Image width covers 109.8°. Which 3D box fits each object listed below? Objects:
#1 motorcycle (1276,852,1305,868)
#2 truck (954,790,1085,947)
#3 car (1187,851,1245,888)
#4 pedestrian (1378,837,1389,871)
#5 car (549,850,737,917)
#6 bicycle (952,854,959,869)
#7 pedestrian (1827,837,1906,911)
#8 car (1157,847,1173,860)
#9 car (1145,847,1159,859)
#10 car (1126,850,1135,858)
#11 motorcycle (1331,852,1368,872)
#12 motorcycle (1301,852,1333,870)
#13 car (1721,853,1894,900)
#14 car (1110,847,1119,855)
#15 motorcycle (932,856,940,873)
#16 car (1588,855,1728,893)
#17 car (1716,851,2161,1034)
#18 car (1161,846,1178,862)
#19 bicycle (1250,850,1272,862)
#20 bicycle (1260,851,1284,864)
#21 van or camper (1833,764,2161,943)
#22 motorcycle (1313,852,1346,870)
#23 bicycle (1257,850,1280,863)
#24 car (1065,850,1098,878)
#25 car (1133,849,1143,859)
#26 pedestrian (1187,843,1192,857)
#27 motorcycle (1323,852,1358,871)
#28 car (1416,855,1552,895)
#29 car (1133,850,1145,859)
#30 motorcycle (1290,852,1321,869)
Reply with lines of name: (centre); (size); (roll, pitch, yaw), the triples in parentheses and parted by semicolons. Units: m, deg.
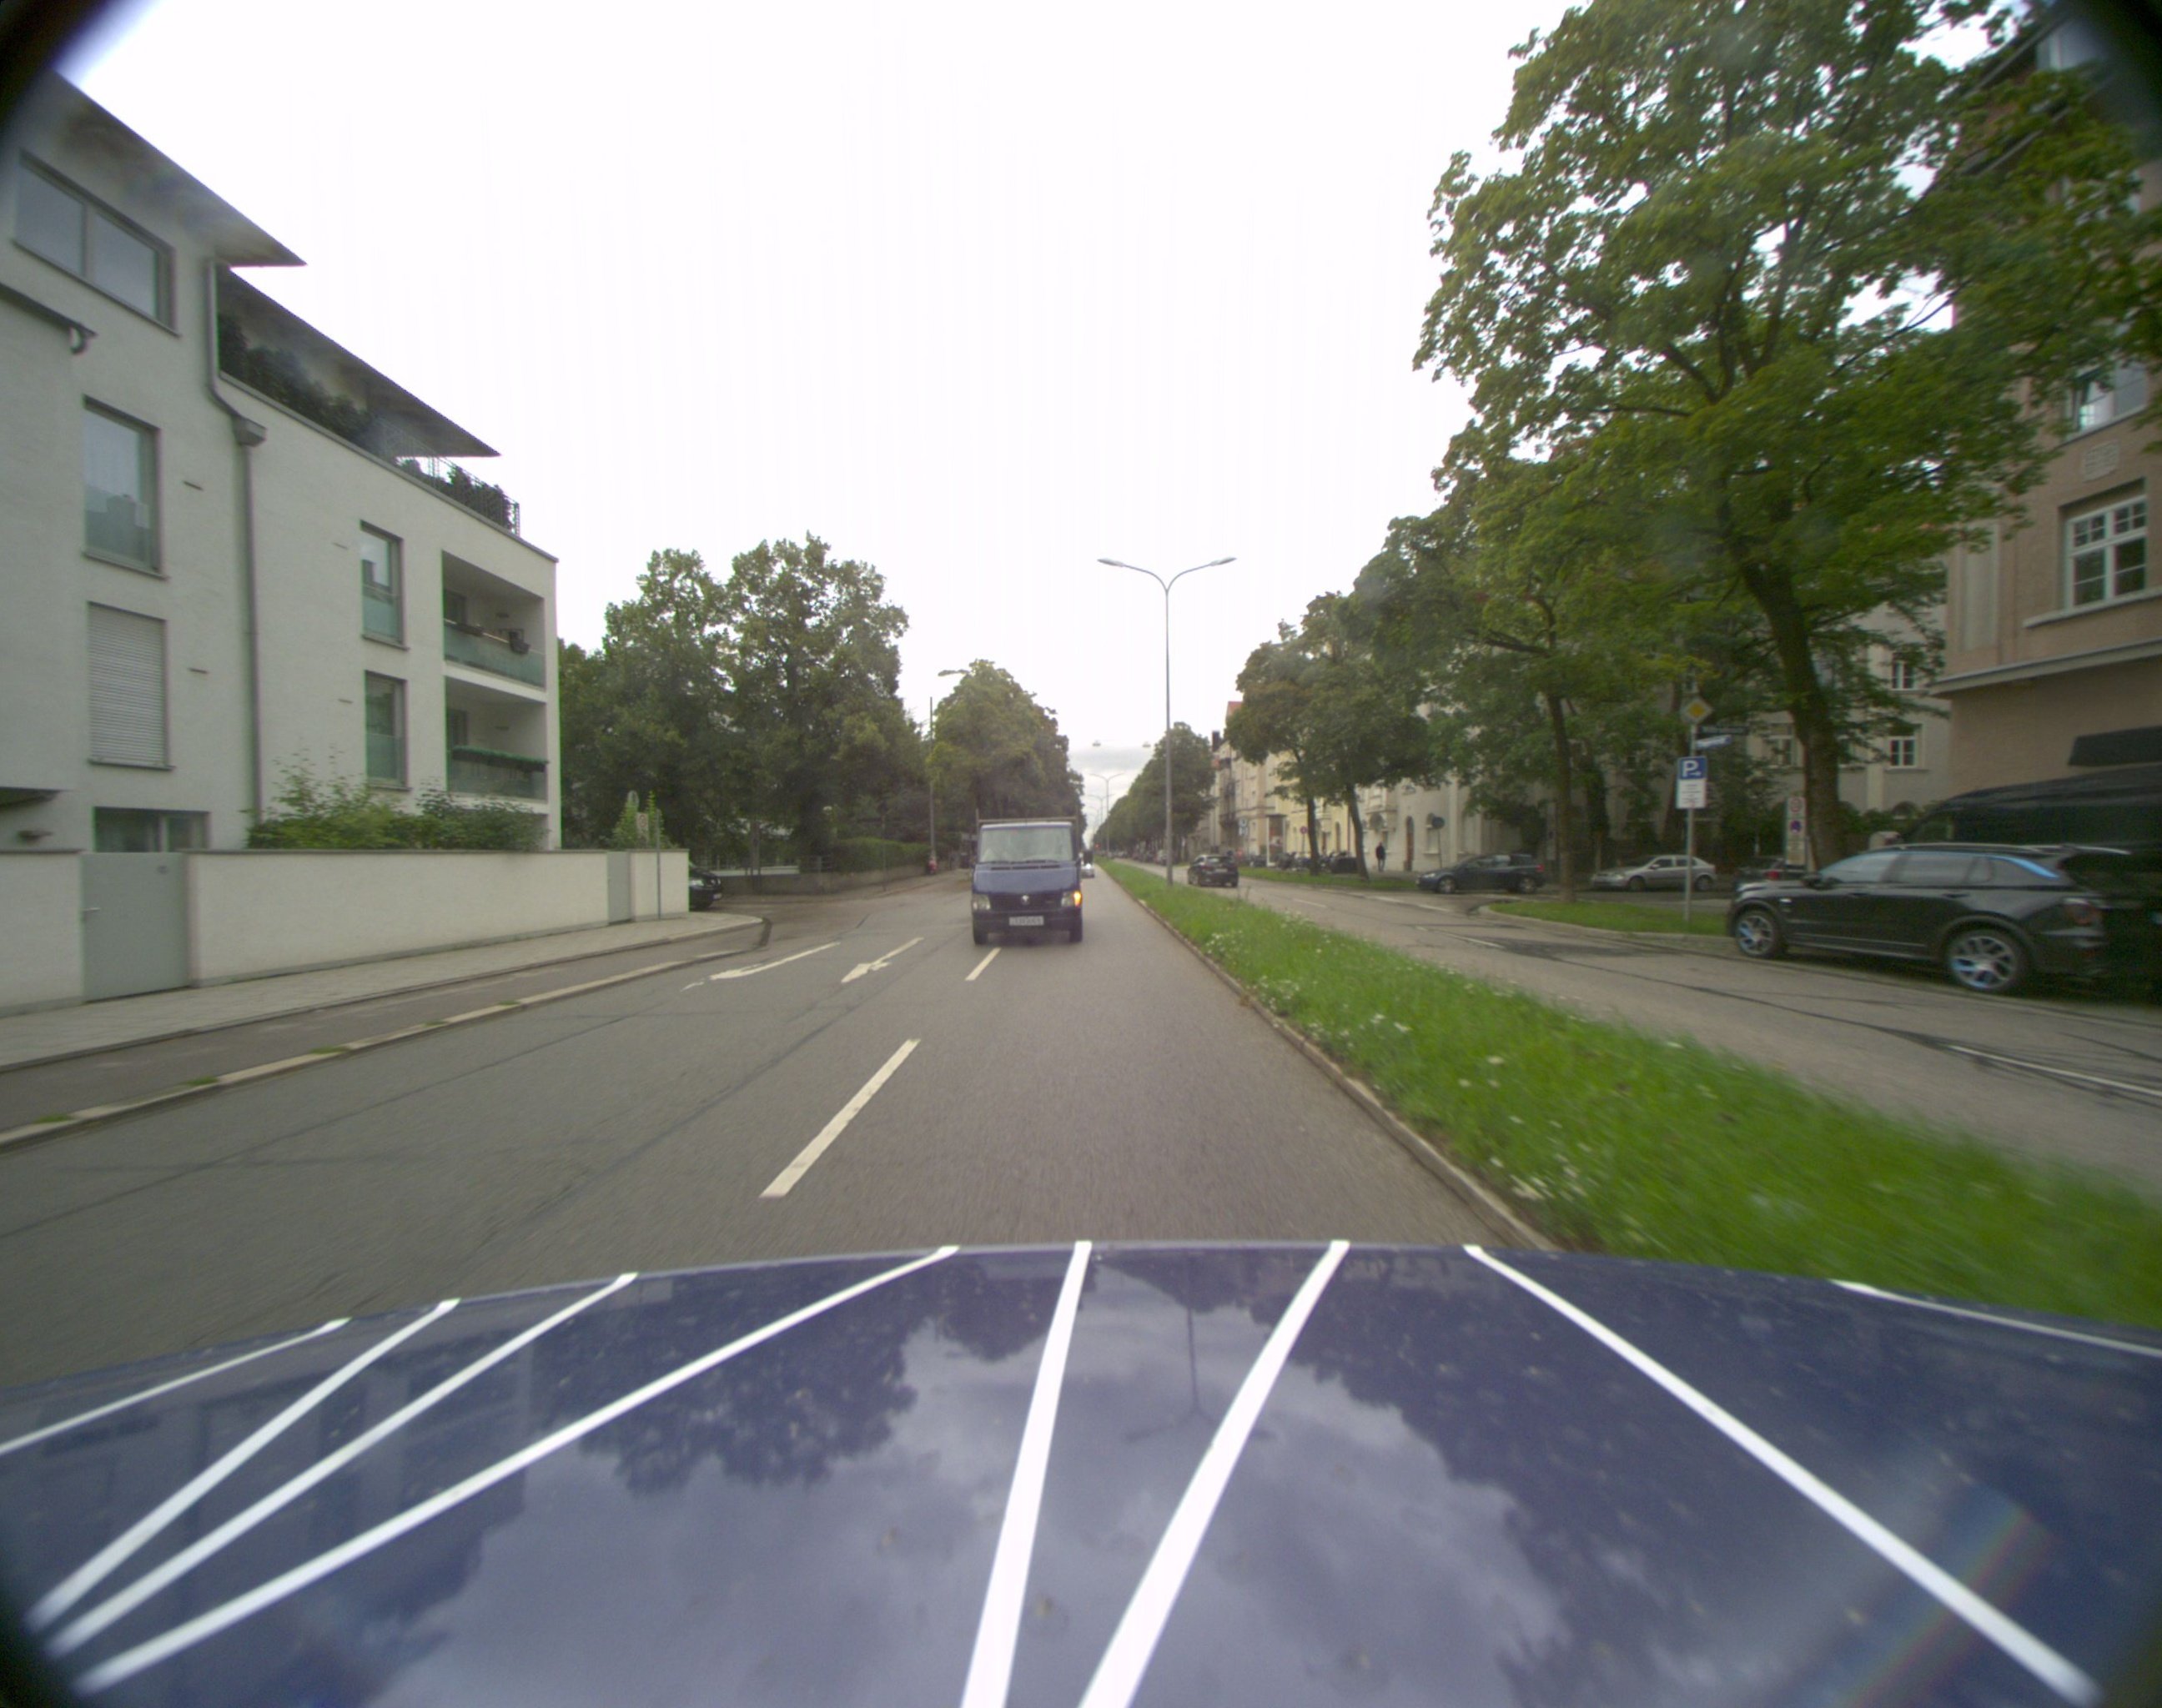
motorcycle: (14.862, 0.409, 53.882); (1.954, 1.143, 0.597); (-1, 1, 21)
truck: (-0.960, 0.212, 14.607); (1.998, 2.475, 5.150); (-1, 1, 1)
car: (5.948, 0.637, 33.916); (1.815, 1.498, 4.323); (2, 1, 1)
pedestrian: (18.194, -0.001, 45.704); (0.599, 2.048, 0.685); (0, 1, 20)
car: (-13.481, 0.892, 23.564); (4.730, 1.913, 1.875); (-1, 2, 4)
bicycle: (-9.532, 0.542, 57.519); (0.490, 1.093, 1.631); (-1, 1, -10)
pedestrian: (18.662, 0.455, 18.075); (0.750, 1.700, 1.083); (-1, 1, 1)
car: (12.096, -0.073, 109.813); (1.872, 1.827, 4.000); (-1, 1, 1)
car: (11.187, -0.224, 120.262); (1.872, 1.827, 4.000); (-1, 1, 1)
car: (12.070, -0.083, 185.358); (1.872, 1.827, 4.000); (-1, 1, 1)
motorcycle: (16.088, 0.474, 45.563); (1.953, 1.143, 0.597); (0, 1, 38)
motorcycle: (15.625, 0.445, 50.320); (1.953, 1.143, 0.597); (0, 1, 38)
car: (22.905, 0.687, 24.073); (3.706, 1.363, 1.912); (-1, 1, -1)
car: (7.101, -0.603, 163.394); (1.814, 1.761, 4.000); (-1, 1, 1)
motorcycle: (-9.533, 0.682, 49.991); (0.497, 1.135, 1.631); (-1, 1, -10)
car: (21.882, 0.736, 28.939); (3.997, 1.314, 1.795); (-1, 1, -1)
car: (10.597, 0.826, 9.368); (1.878, 1.677, 4.438); (-1, 1, 1)
car: (11.645, 0.005, 100.572); (1.790, 2.002, 4.000); (-1, 1, 1)
bicycle: (17.043, 0.203, 71.888); (1.954, 1.143, 0.597); (-1, 1, 21)
bicycle: (16.685, 0.309, 66.457); (1.954, 1.143, 0.597); (-1, 1, 21)
van or camper: (16.653, -0.034, 12.251); (2.351, 2.564, 6.850); (-1, 0, 1)
motorcycle: (15.960, 0.457, 48.805); (1.953, 1.143, 0.597); (0, 1, 38)
bicycle: (16.894, 0.259, 68.569); (1.954, 1.143, 0.597); (-1, 1, 21)
car: (0.050, 0.577, 47.521); (1.946, 1.642, 3.999); (-1, 1, 0)
car: (11.459, -0.007, 152.725); (1.872, 1.827, 4.000); (-1, 1, 1)
pedestrian: (16.114, -0.554, 113.188); (0.641, 2.031, 0.738); (-1, 1, 12)
motorcycle: (16.061, 0.479, 47.108); (1.953, 1.143, 0.597); (0, 1, 38)
car: (14.454, 0.741, 27.484); (3.992, 1.368, 1.864); (-1, 0, 14)
car: (11.255, 0.084, 147.598); (1.872, 1.827, 4.000); (-1, 1, 1)
motorcycle: (15.353, 0.423, 51.984); (1.953, 1.143, 0.597); (0, 1, 38)
